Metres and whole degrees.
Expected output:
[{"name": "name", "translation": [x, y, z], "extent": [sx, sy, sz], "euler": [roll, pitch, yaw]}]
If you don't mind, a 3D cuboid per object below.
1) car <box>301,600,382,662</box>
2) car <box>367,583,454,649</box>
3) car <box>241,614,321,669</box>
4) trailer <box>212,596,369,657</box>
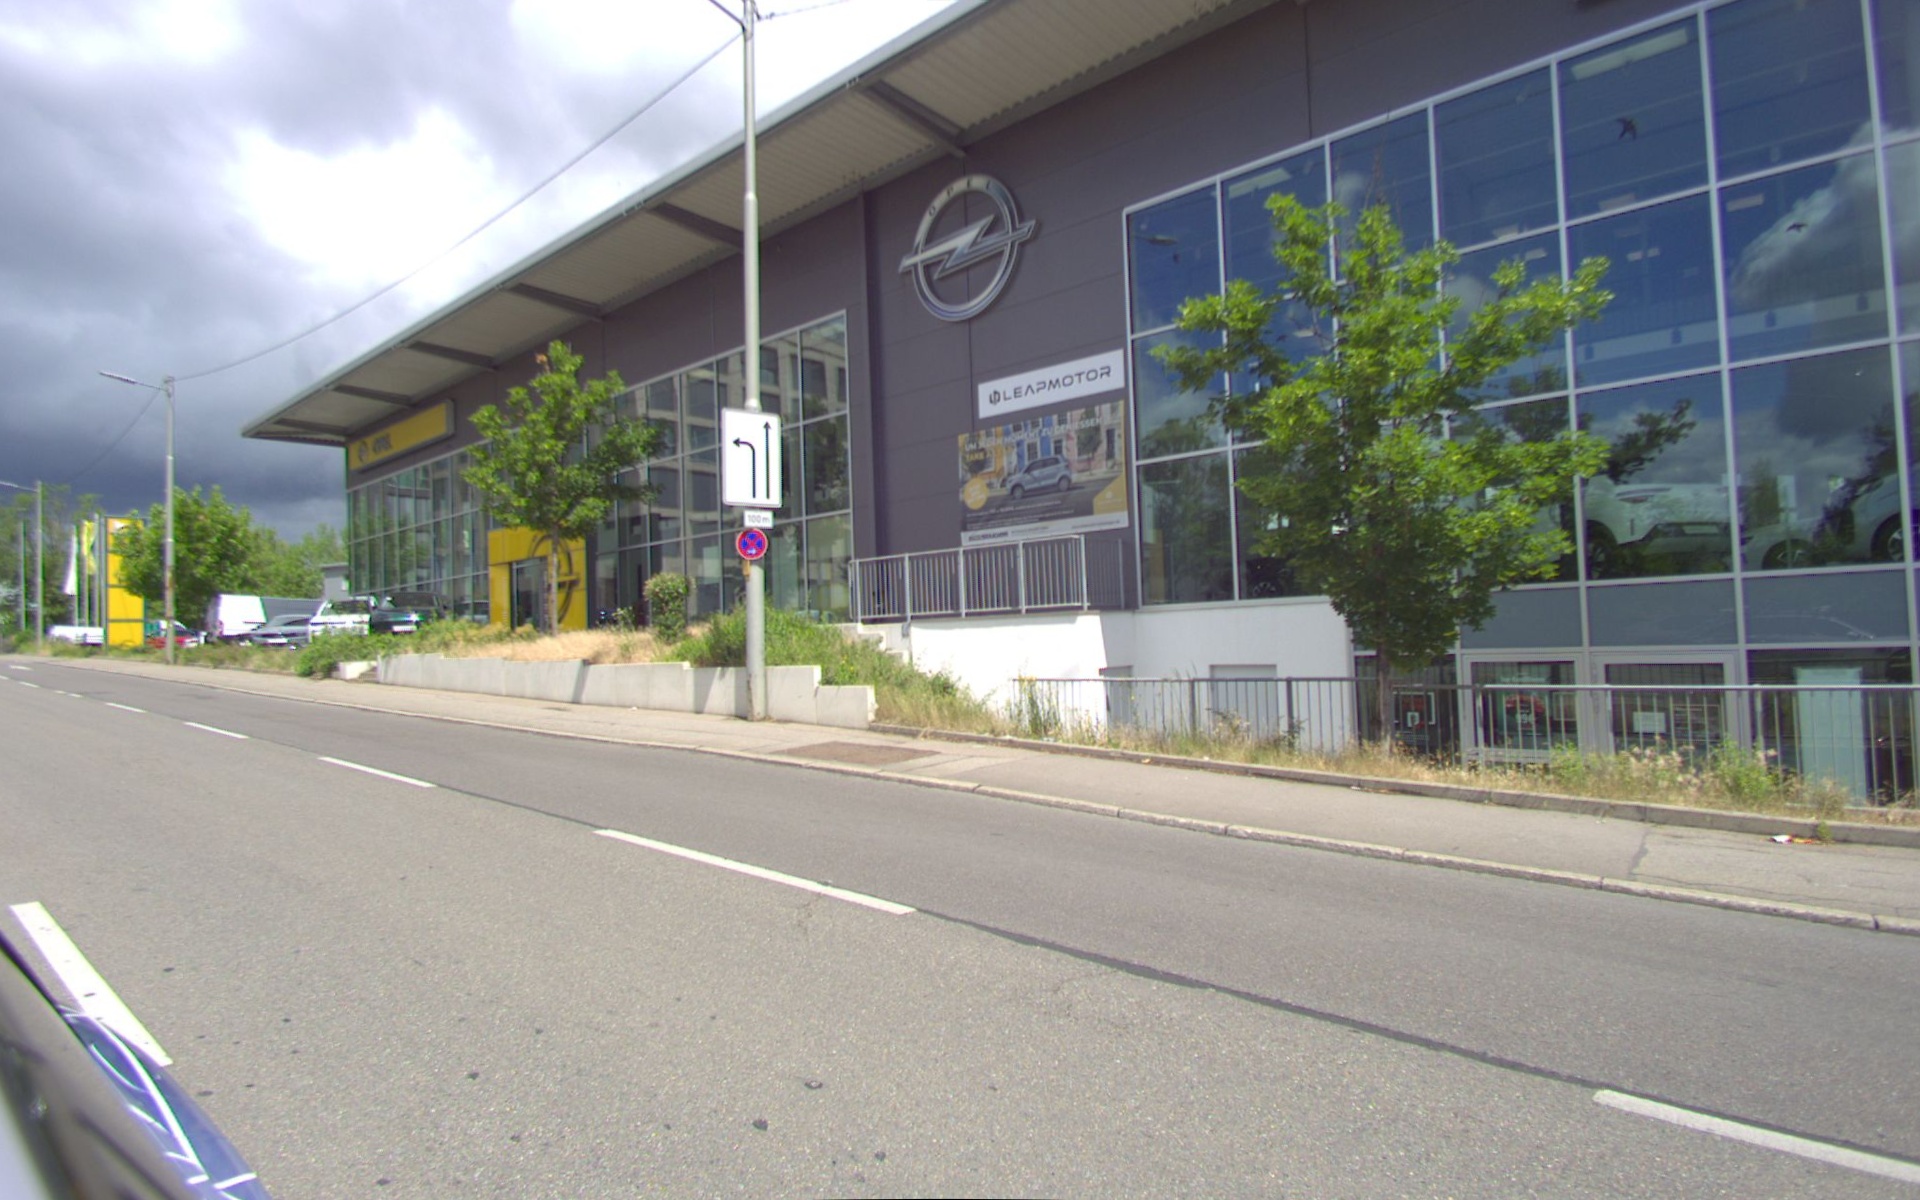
[{"name": "car", "translation": [-19.214, 0.943, 31.583], "extent": [1.966, 1.807, 4.012], "euler": [1, -2, -29]}, {"name": "car", "translation": [-15.688, 0.468, 28.795], "extent": [1.966, 1.741, 4.011], "euler": [1, -2, -31]}, {"name": "car", "translation": [-23.479, 1.403, 35.145], "extent": [1.966, 1.807, 4.012], "euler": [1, -1, -29]}, {"name": "trailer", "translation": [-27.427, 1.081, 41.598], "extent": [1.998, 2.367, 5.011], "euler": [-1, -2, 39]}]
